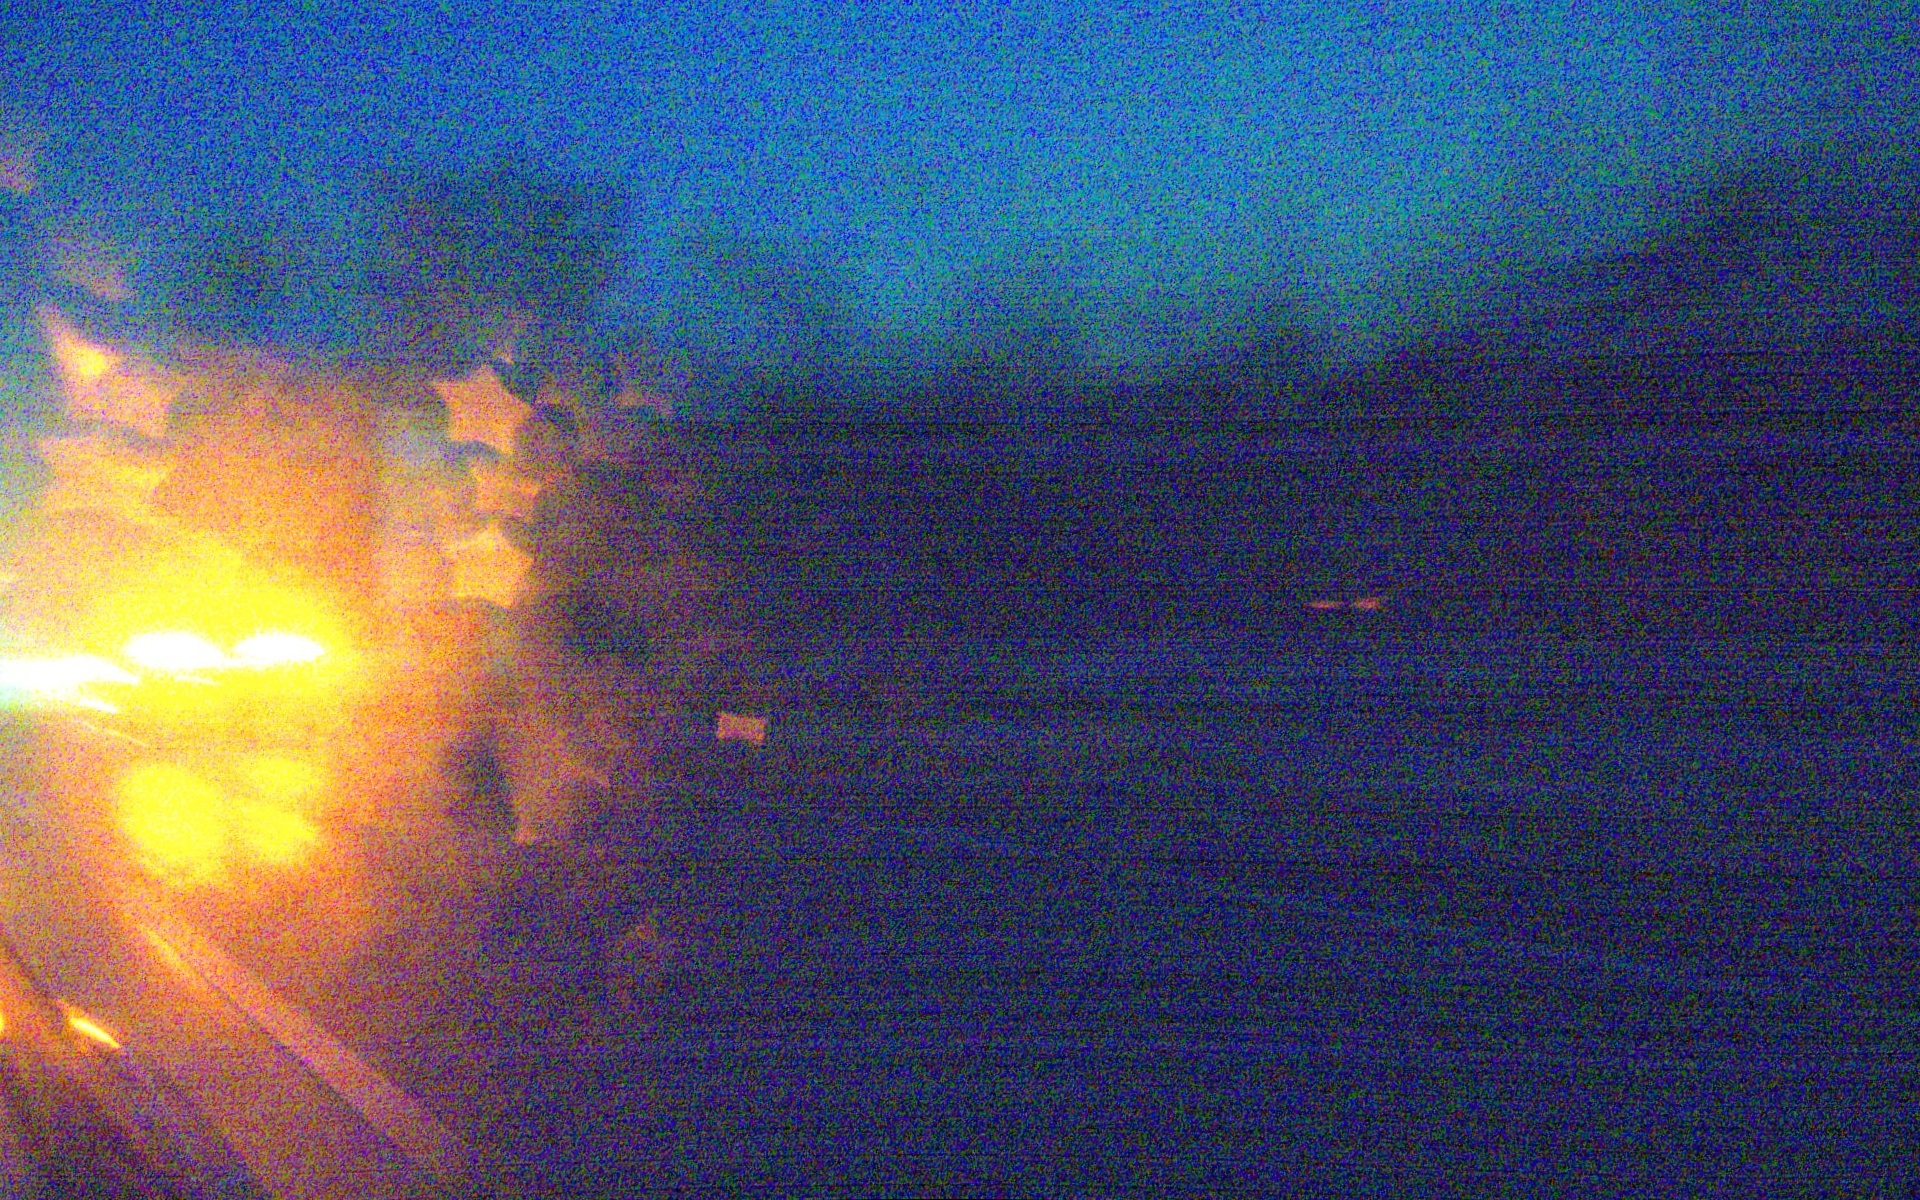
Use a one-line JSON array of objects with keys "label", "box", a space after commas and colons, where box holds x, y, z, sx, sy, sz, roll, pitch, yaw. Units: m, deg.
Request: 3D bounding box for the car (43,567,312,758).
[{"label": "car", "box": [-9.996, 0.672, 12.827, 3.998, 2.029, 1.973, -1, 0, 41]}]
